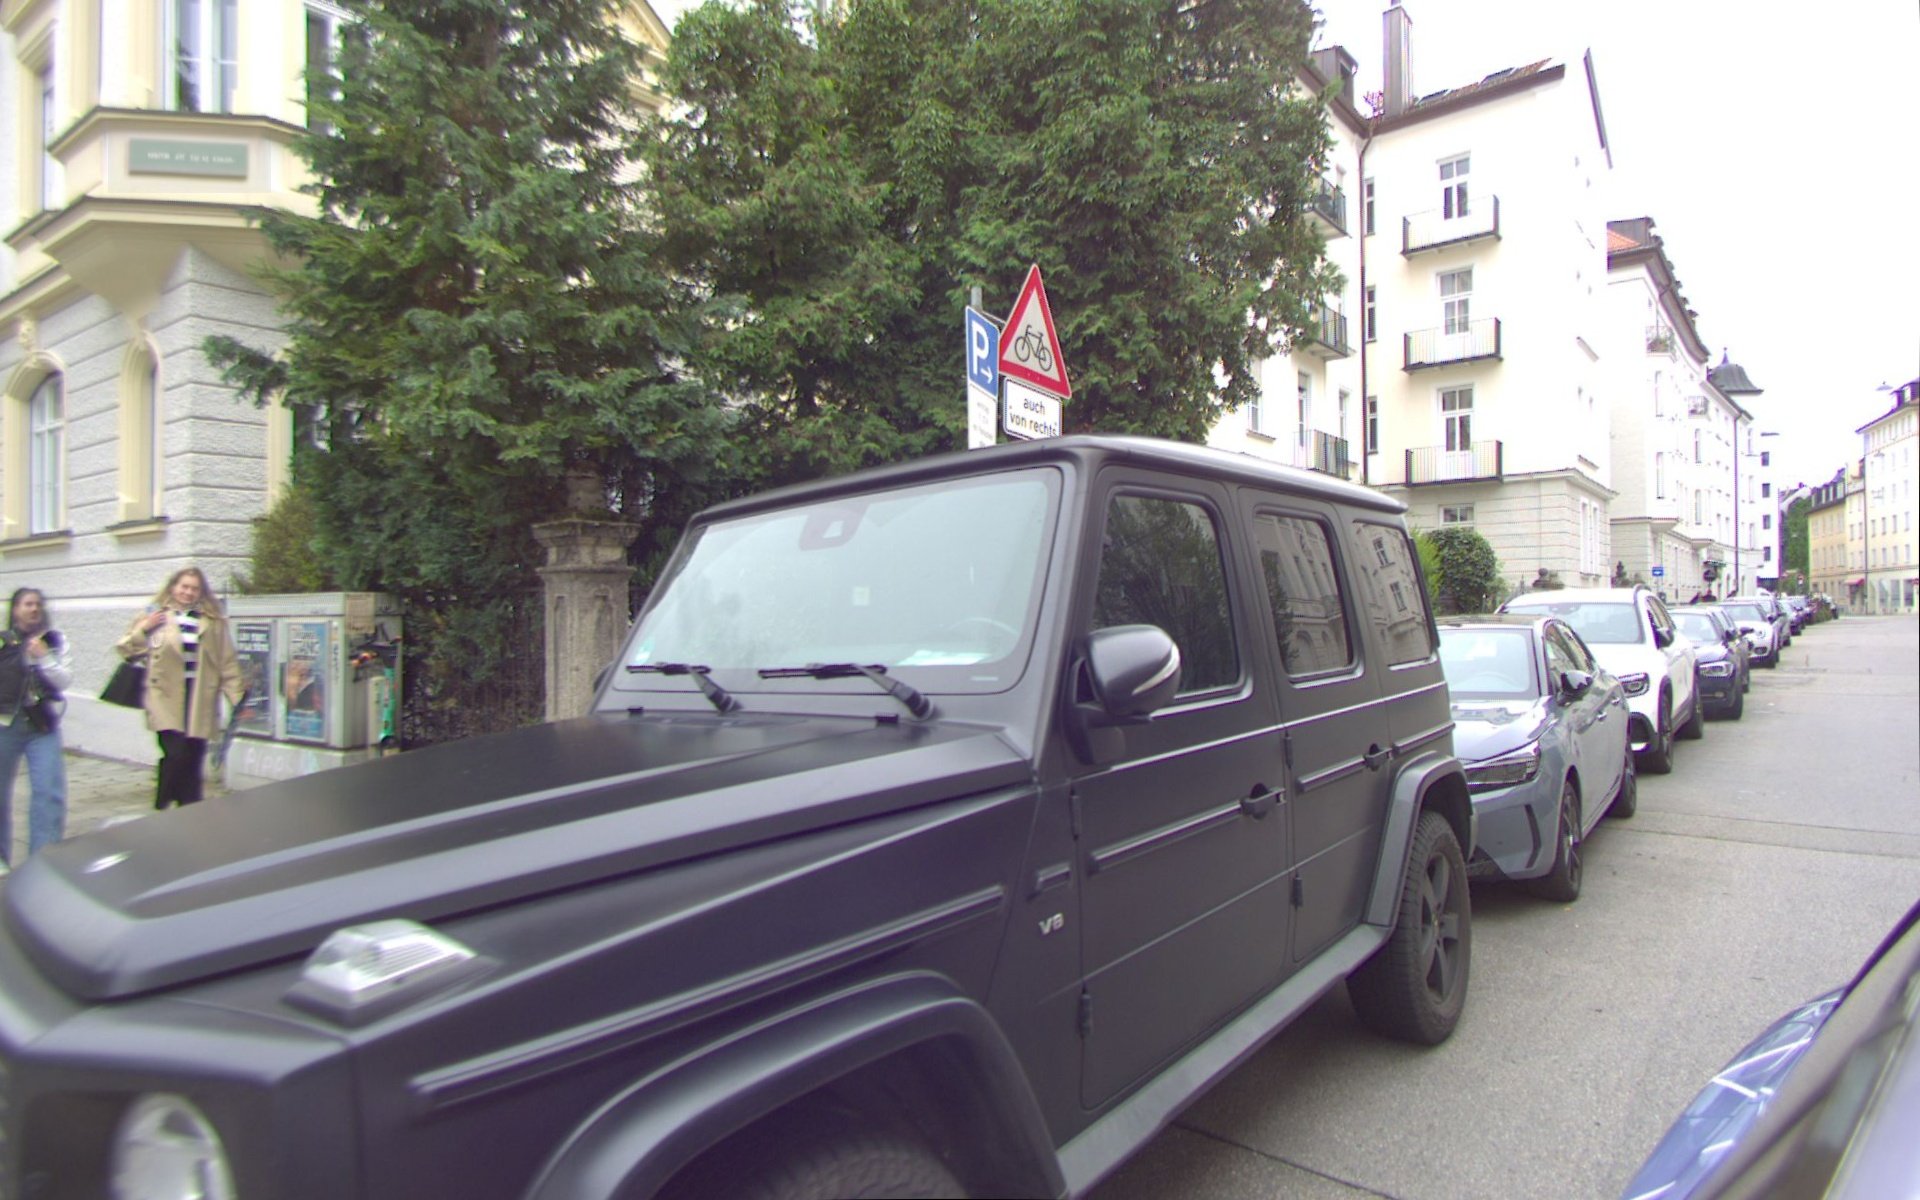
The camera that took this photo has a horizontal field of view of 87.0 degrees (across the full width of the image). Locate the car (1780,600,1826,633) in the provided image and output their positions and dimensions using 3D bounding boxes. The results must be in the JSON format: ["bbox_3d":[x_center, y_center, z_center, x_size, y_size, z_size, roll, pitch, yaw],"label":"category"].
[{"bbox_3d":[46.793,0.913,56.148,1.797,1.697,4.127,-5,-4,41],"label":"car"}]

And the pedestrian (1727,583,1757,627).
[{"bbox_3d":[32.872,0.198,42.564,0.880,1.809,1.097,-1,-1,35],"label":"pedestrian"}]

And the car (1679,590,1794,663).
[{"bbox_3d":[17.726,0.565,23.024,1.782,1.524,4.004,-2,-1,41],"label":"car"}]

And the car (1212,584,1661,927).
[{"bbox_3d":[3.243,0.729,6.510,1.719,1.538,3.579,-4,-2,39],"label":"car"}]

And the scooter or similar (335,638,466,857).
[{"bbox_3d":[-3.581,0.871,6.437,1.347,1.205,0.365,0,0,45],"label":"scooter or similar"}]

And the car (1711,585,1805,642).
[{"bbox_3d":[24.743,0.425,31.330,1.821,1.590,4.331,-5,-3,43],"label":"car"}]

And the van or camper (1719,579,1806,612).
[{"bbox_3d":[70.405,-0.343,88.938,5.833,2.750,2.274,-1,-4,36],"label":"van or camper"}]

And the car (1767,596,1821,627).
[{"bbox_3d":[40.901,0.580,49.719,1.832,1.417,4.904,-3,-3,38],"label":"car"}]

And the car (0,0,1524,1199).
[{"bbox_3d":[0.075,0.490,3.094,1.948,1.980,4.596,-3,-3,41],"label":"car"}]

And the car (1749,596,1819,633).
[{"bbox_3d":[34.354,0.587,42.147,1.992,1.476,4.640,-2,-1,42],"label":"car"}]

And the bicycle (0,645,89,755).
[{"bbox_3d":[-10.609,1.080,11.480,2.397,1.119,0.531,-2,-1,35],"label":"bicycle"}]

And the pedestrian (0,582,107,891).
[{"bbox_3d":[-5.346,0.726,5.707,0.704,1.649,0.680,1,1,36],"label":"pedestrian"}]

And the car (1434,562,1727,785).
[{"bbox_3d":[6.491,0.610,10.350,1.721,1.792,4.346,-5,-2,42],"label":"car"}]

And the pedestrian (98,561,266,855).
[{"bbox_3d":[-4.950,0.625,6.440,0.733,1.724,0.686,2,1,38],"label":"pedestrian"}]

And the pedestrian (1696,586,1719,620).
[{"bbox_3d":[40.304,0.165,54.568,0.883,1.837,1.094,-1,-2,43],"label":"pedestrian"}]

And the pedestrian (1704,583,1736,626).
[{"bbox_3d":[32.654,0.199,43.477,1.092,1.835,0.884,0,-1,-44],"label":"pedestrian"}]

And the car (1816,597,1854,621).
[{"bbox_3d":[63.749,0.652,73.694,1.835,1.640,4.030,-5,-3,43],"label":"car"}]

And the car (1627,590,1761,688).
[{"bbox_3d":[13.010,0.626,17.839,1.680,1.524,3.961,-2,-1,39],"label":"car"}]

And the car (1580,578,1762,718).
[{"bbox_3d":[9.971,0.620,14.093,1.746,1.632,4.362,-3,-3,38],"label":"car"}]

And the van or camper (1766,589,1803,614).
[{"bbox_3d":[88.770,0.168,109.034,1.948,2.541,5.668,-1,-1,27],"label":"van or camper"}]

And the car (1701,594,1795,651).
[{"bbox_3d":[21.151,0.587,27.133,1.752,1.424,3.400,-2,-1,41],"label":"car"}]
